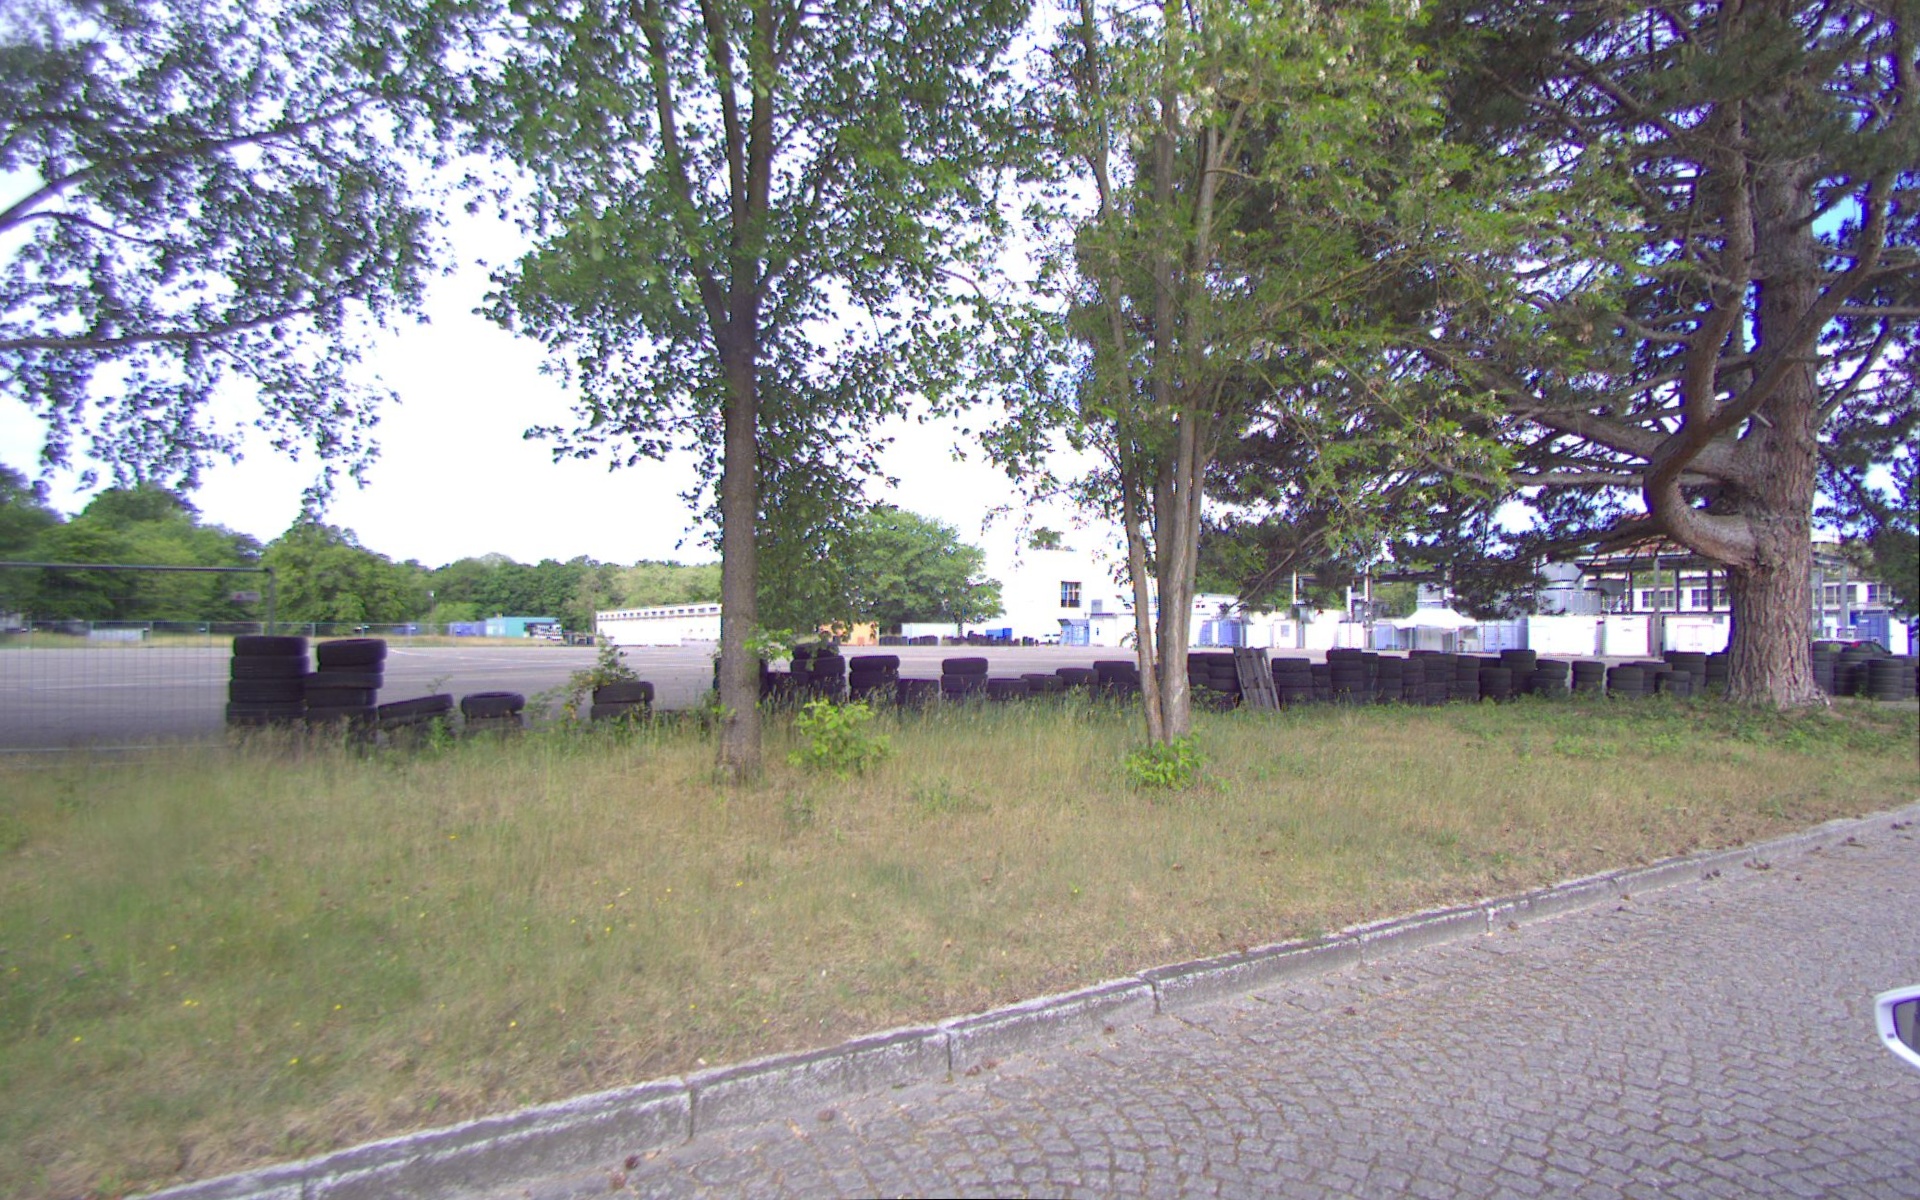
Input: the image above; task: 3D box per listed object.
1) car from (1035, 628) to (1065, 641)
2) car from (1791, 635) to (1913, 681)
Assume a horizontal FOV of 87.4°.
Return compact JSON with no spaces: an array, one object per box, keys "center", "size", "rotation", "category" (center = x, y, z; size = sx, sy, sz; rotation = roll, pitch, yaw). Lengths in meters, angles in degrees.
[{"center":[11.375,4.415,127.731],"size":[1.809,1.654,4.086],"rotation":[1,-2,-29],"category":"car"},{"center":[29.812,1.895,33.553],"size":[4.009,1.452,1.621],"rotation":[1,-2,-26],"category":"car"}]
